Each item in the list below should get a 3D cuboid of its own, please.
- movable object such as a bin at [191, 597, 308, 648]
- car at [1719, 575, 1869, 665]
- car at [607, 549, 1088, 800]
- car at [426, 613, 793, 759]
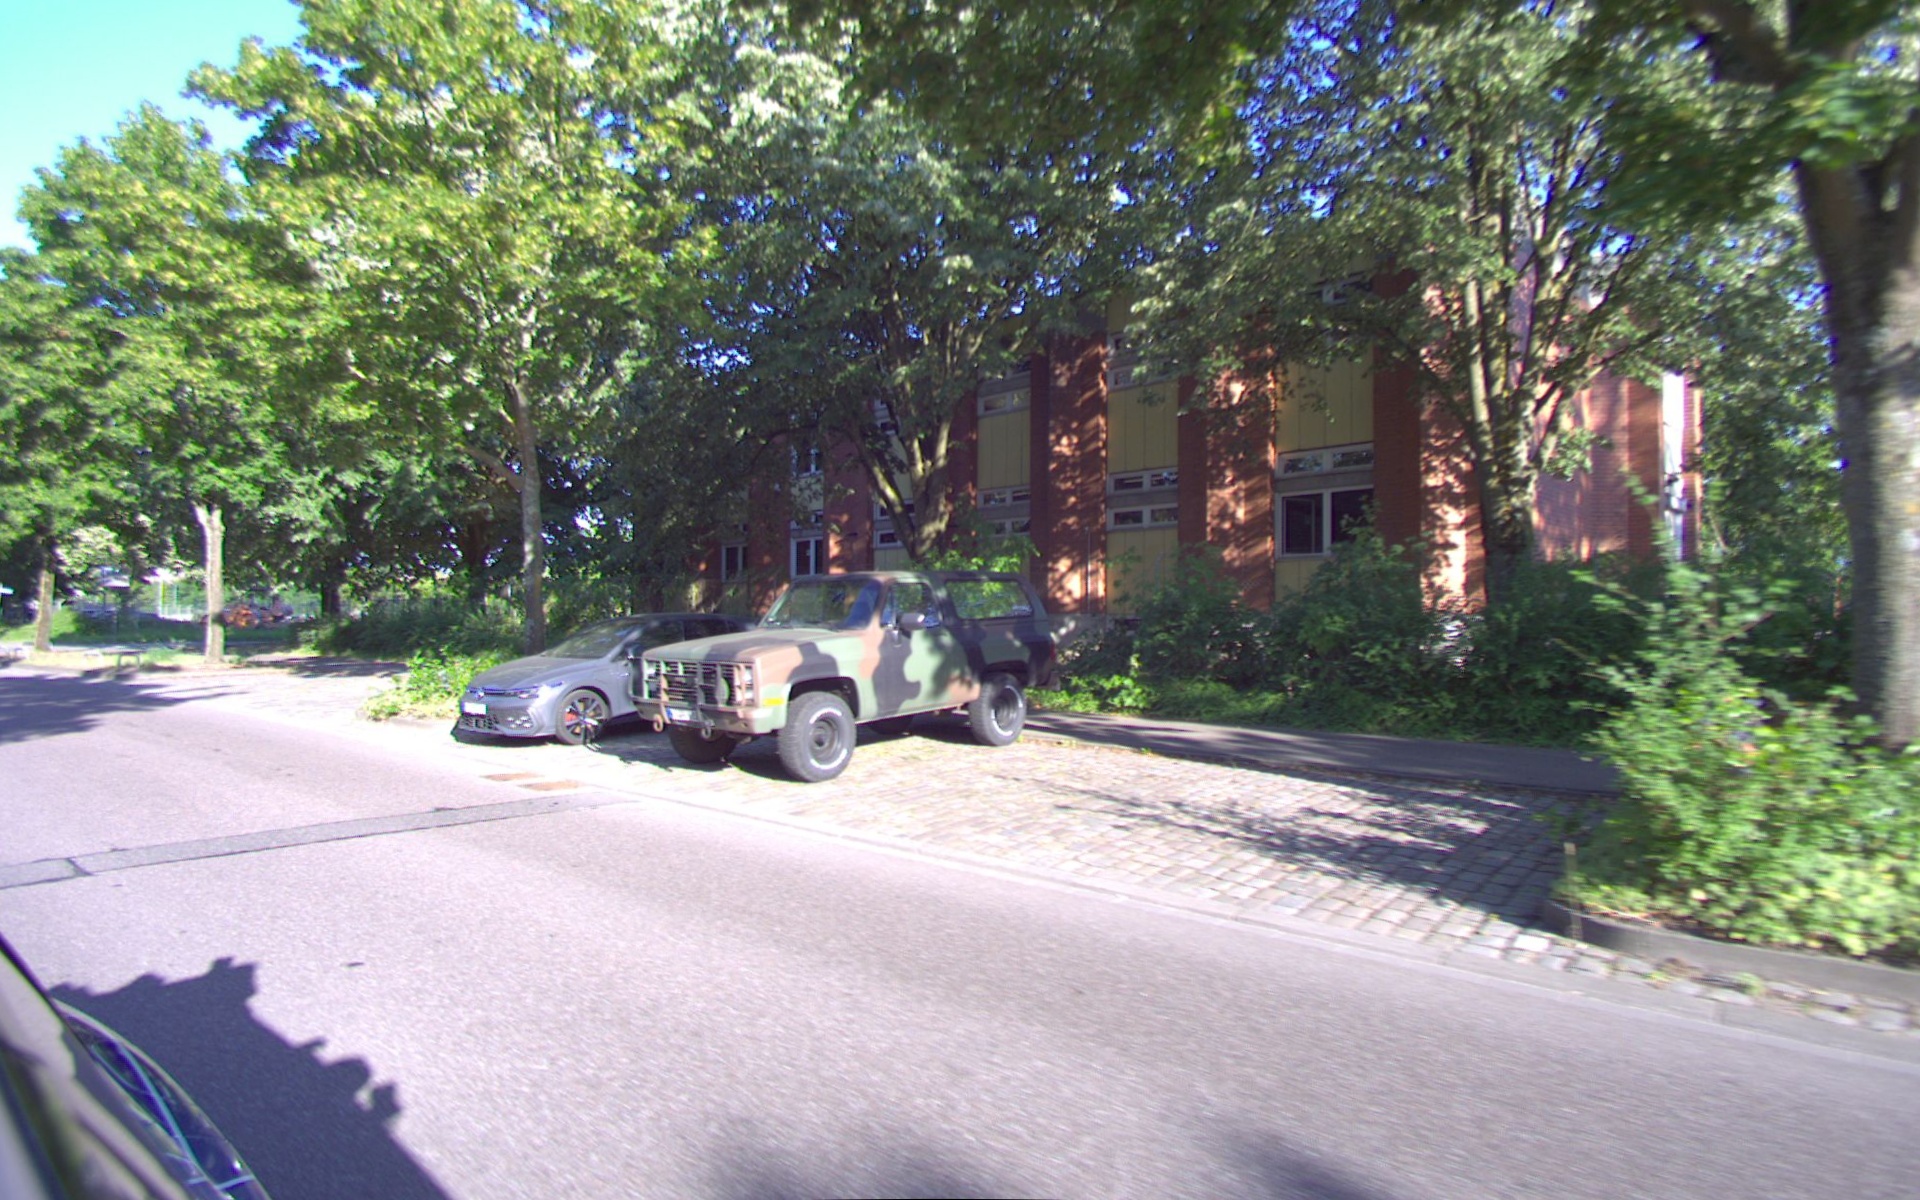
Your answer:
[{"bbox_3d":[-38.484,1.244,54.896,4.732,2.685,2.166,0,-2,-4],"label":"movable object such as a bin"},{"bbox_3d":[18.609,0.467,22.536,3.936,1.830,1.789,1,-2,-39],"label":"car"},{"bbox_3d":[-0.928,0.624,10.802,2.173,2.035,4.953,-1,-1,41],"label":"car"},{"bbox_3d":[-4.260,0.972,12.889,1.703,1.542,4.171,-1,-2,38],"label":"car"}]
